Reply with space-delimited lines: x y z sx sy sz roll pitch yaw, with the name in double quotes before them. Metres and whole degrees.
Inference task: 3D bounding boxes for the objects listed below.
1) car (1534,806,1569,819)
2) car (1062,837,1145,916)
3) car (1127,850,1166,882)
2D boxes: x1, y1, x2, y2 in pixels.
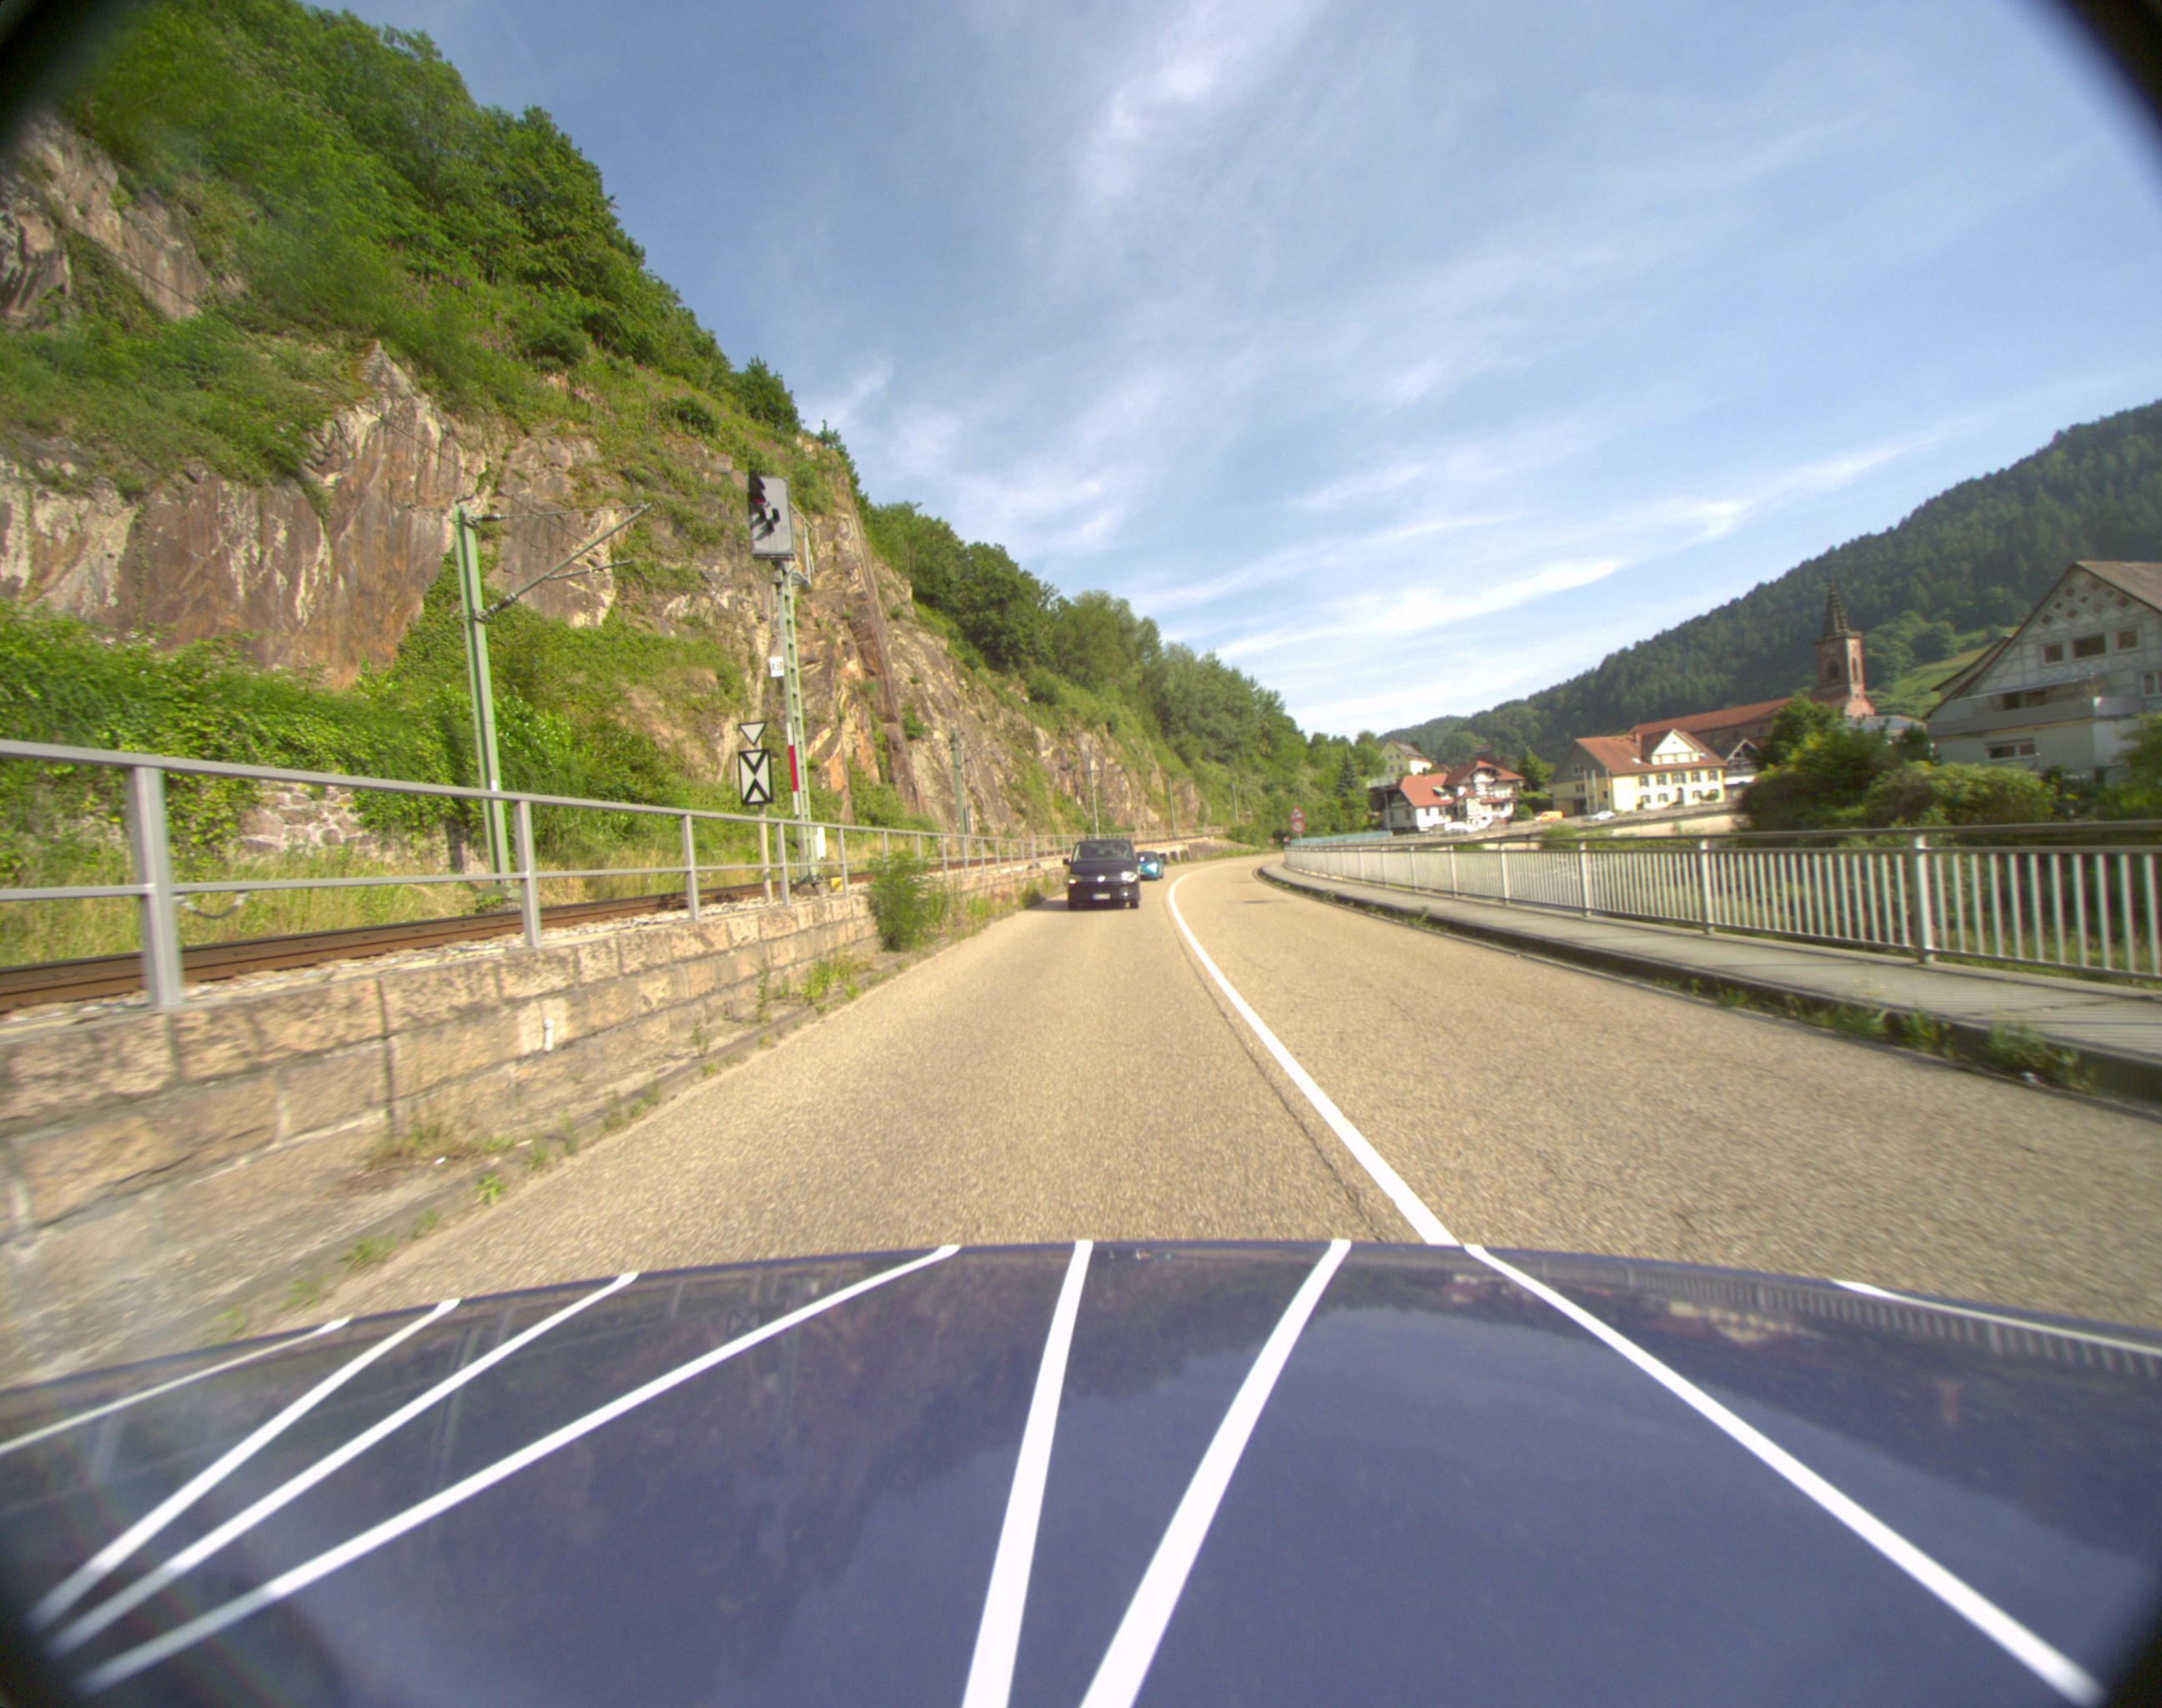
"car" 74.980 -6.580 121.133 4.836 1.986 1.912 -1 1 -12
"car" 0.765 0.527 21.841 1.886 1.953 4.867 -2 1 7
"car" 3.515 0.603 40.477 1.682 1.513 3.868 -4 0 9
